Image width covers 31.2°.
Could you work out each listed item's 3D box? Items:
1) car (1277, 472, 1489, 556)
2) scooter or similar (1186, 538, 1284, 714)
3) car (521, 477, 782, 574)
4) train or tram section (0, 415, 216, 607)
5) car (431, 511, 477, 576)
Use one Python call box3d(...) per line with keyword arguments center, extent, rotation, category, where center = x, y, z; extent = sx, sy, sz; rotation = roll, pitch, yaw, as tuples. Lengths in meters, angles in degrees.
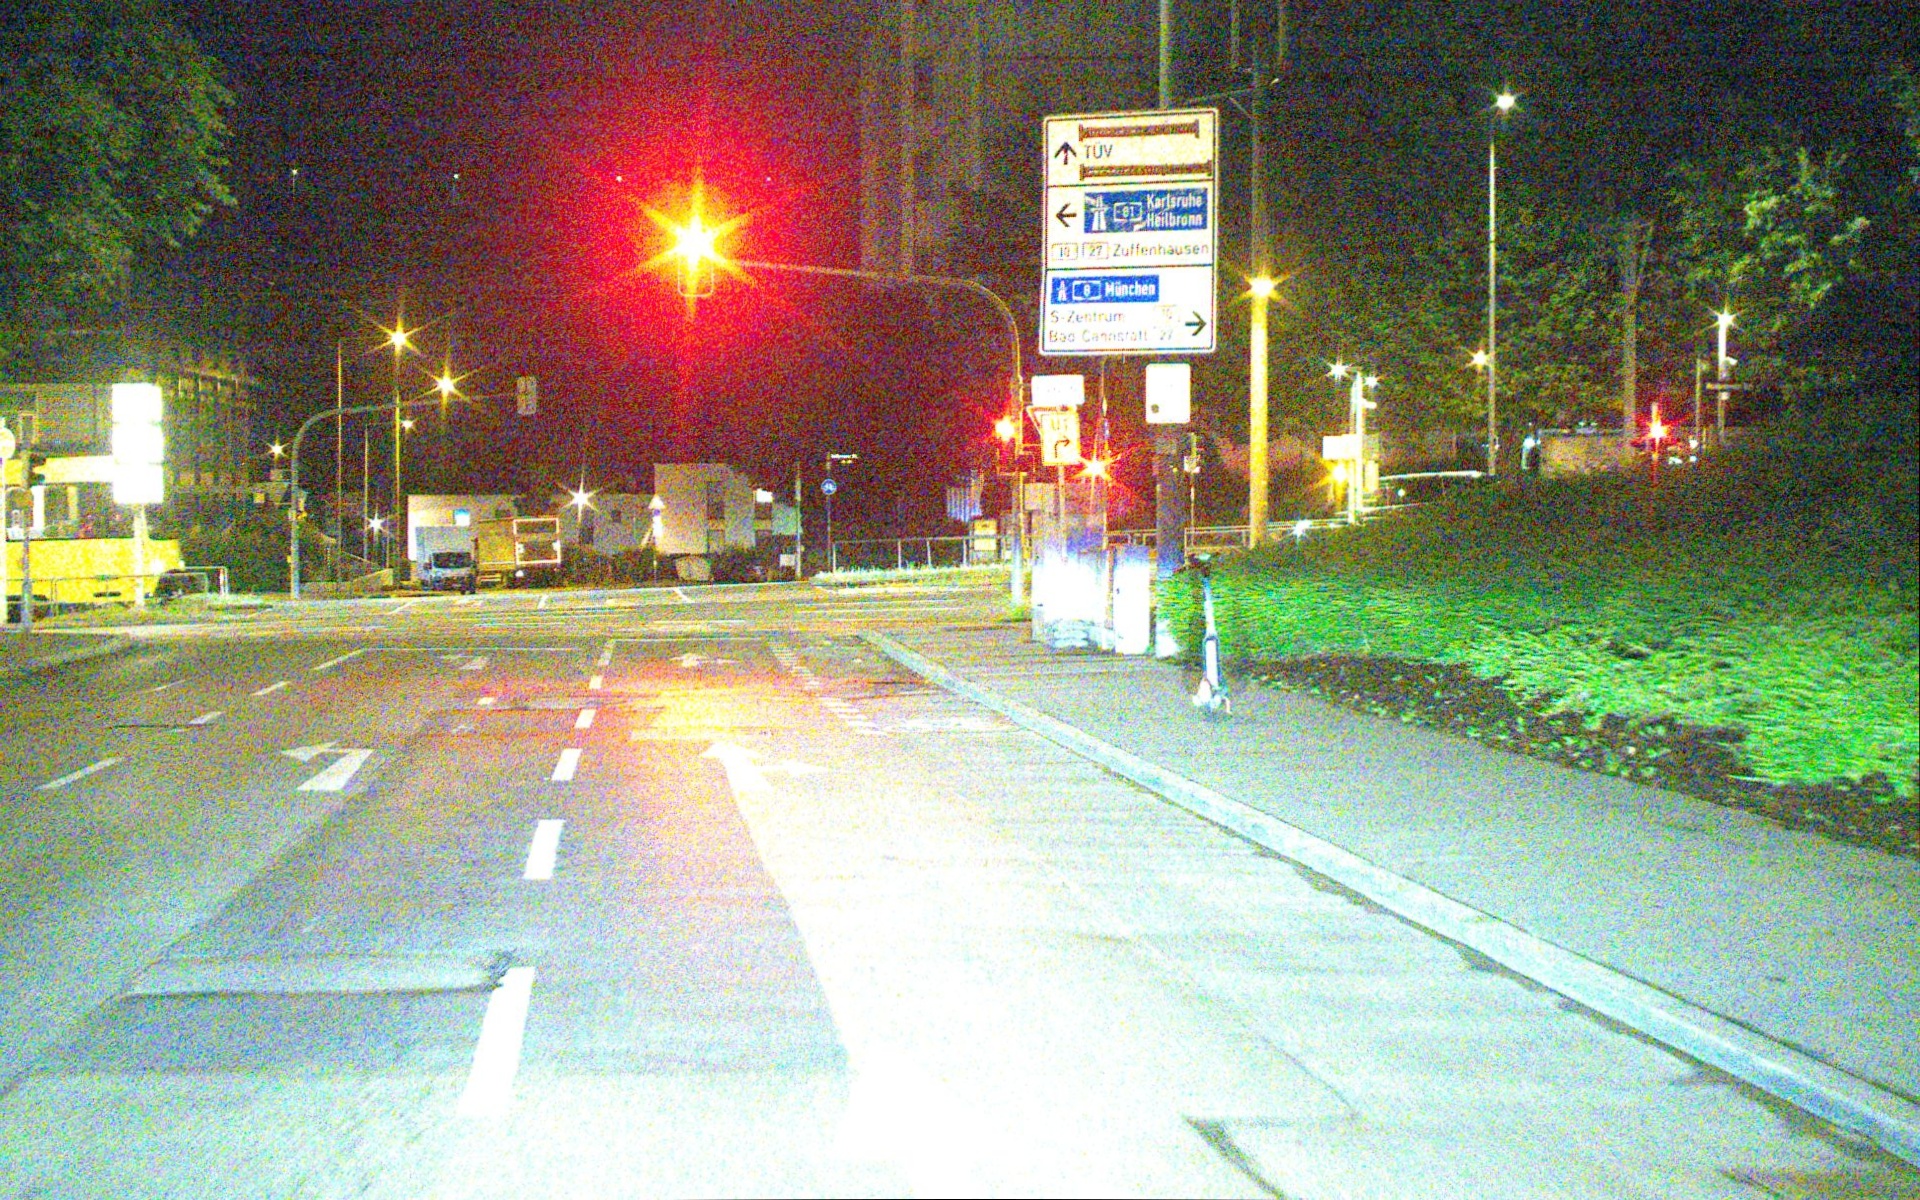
box3d(center=(9.807, -2.005, 79.943), extent=(4.613, 1.634, 2.000), rotation=(-3, 2, 1), category="car")
box3d(center=(2.062, 0.180, 25.912), extent=(0.494, 1.257, 1.320), rotation=(-3, 2, -3), category="scooter or similar")
box3d(center=(-15.743, -3.827, 175.230), extent=(12.381, 4.693, 4.811), rotation=(-1, 1, -19), category="car")
box3d(center=(-25.508, -1.635, 71.929), extent=(19.174, 3.810, 2.924), rotation=(-2, 1, 1), category="train or tram section")
box3d(center=(-23.781, -2.668, 161.491), extent=(1.993, 2.963, 4.001), rotation=(-1, 1, -10), category="car")
